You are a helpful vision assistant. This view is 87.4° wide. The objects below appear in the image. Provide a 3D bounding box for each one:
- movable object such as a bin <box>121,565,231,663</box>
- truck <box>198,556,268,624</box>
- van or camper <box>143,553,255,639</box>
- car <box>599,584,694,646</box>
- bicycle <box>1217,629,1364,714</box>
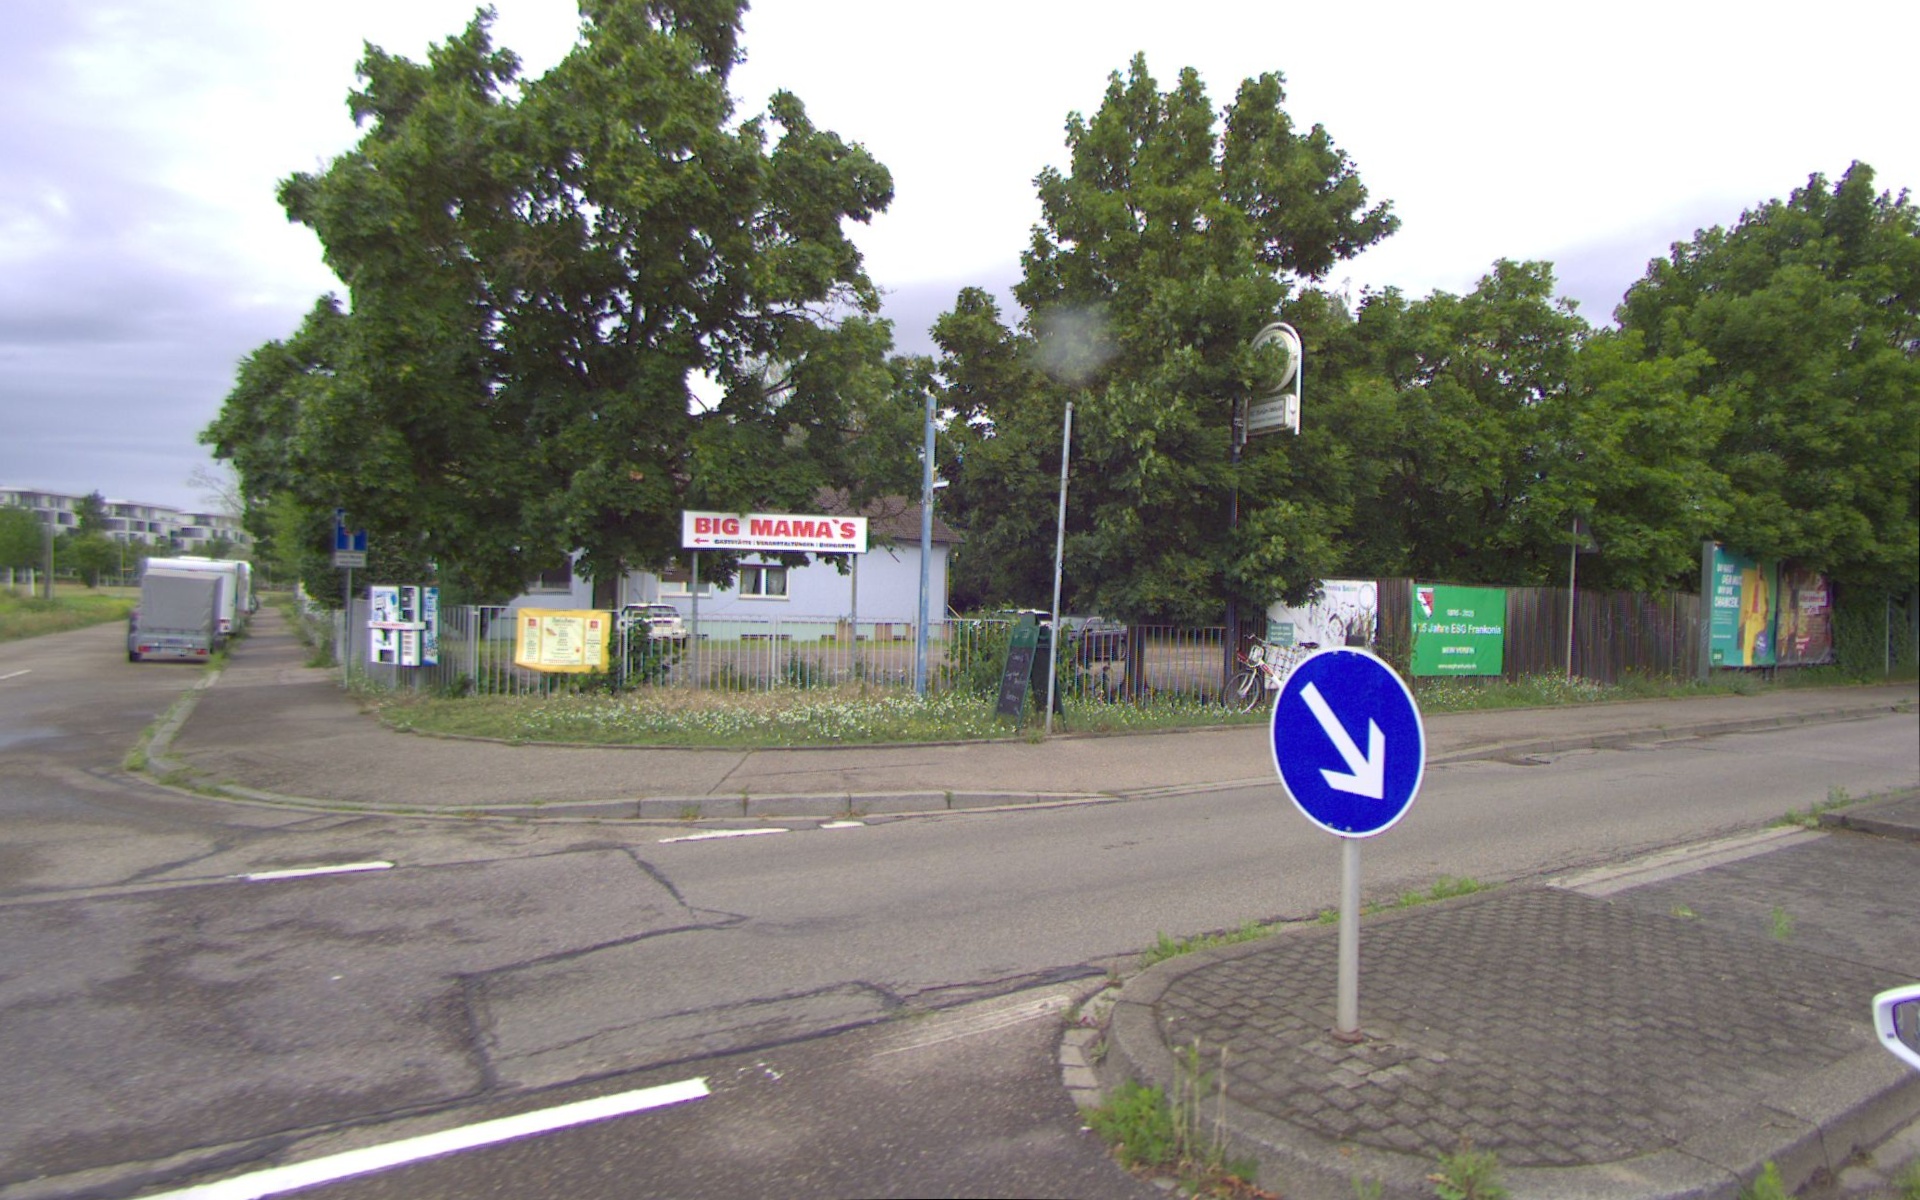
[{"bbox_3d":[-18.364,0.330,23.642,1.666,2.086,2.761,4,-2,-33],"label":"movable object such as a bin"},{"bbox_3d":[-32.825,-0.438,45.505,1.977,2.872,5.091,2,-1,-30],"label":"truck"},{"bbox_3d":[-25.415,-0.123,33.745,2.494,2.623,5.094,2,-1,-32],"label":"van or camper"},{"bbox_3d":[-10.130,0.466,32.287,1.978,1.828,3.966,2,-1,-31],"label":"car"},{"bbox_3d":[4.394,0.944,13.385,1.737,1.012,0.583,3,2,-8],"label":"bicycle"}]
